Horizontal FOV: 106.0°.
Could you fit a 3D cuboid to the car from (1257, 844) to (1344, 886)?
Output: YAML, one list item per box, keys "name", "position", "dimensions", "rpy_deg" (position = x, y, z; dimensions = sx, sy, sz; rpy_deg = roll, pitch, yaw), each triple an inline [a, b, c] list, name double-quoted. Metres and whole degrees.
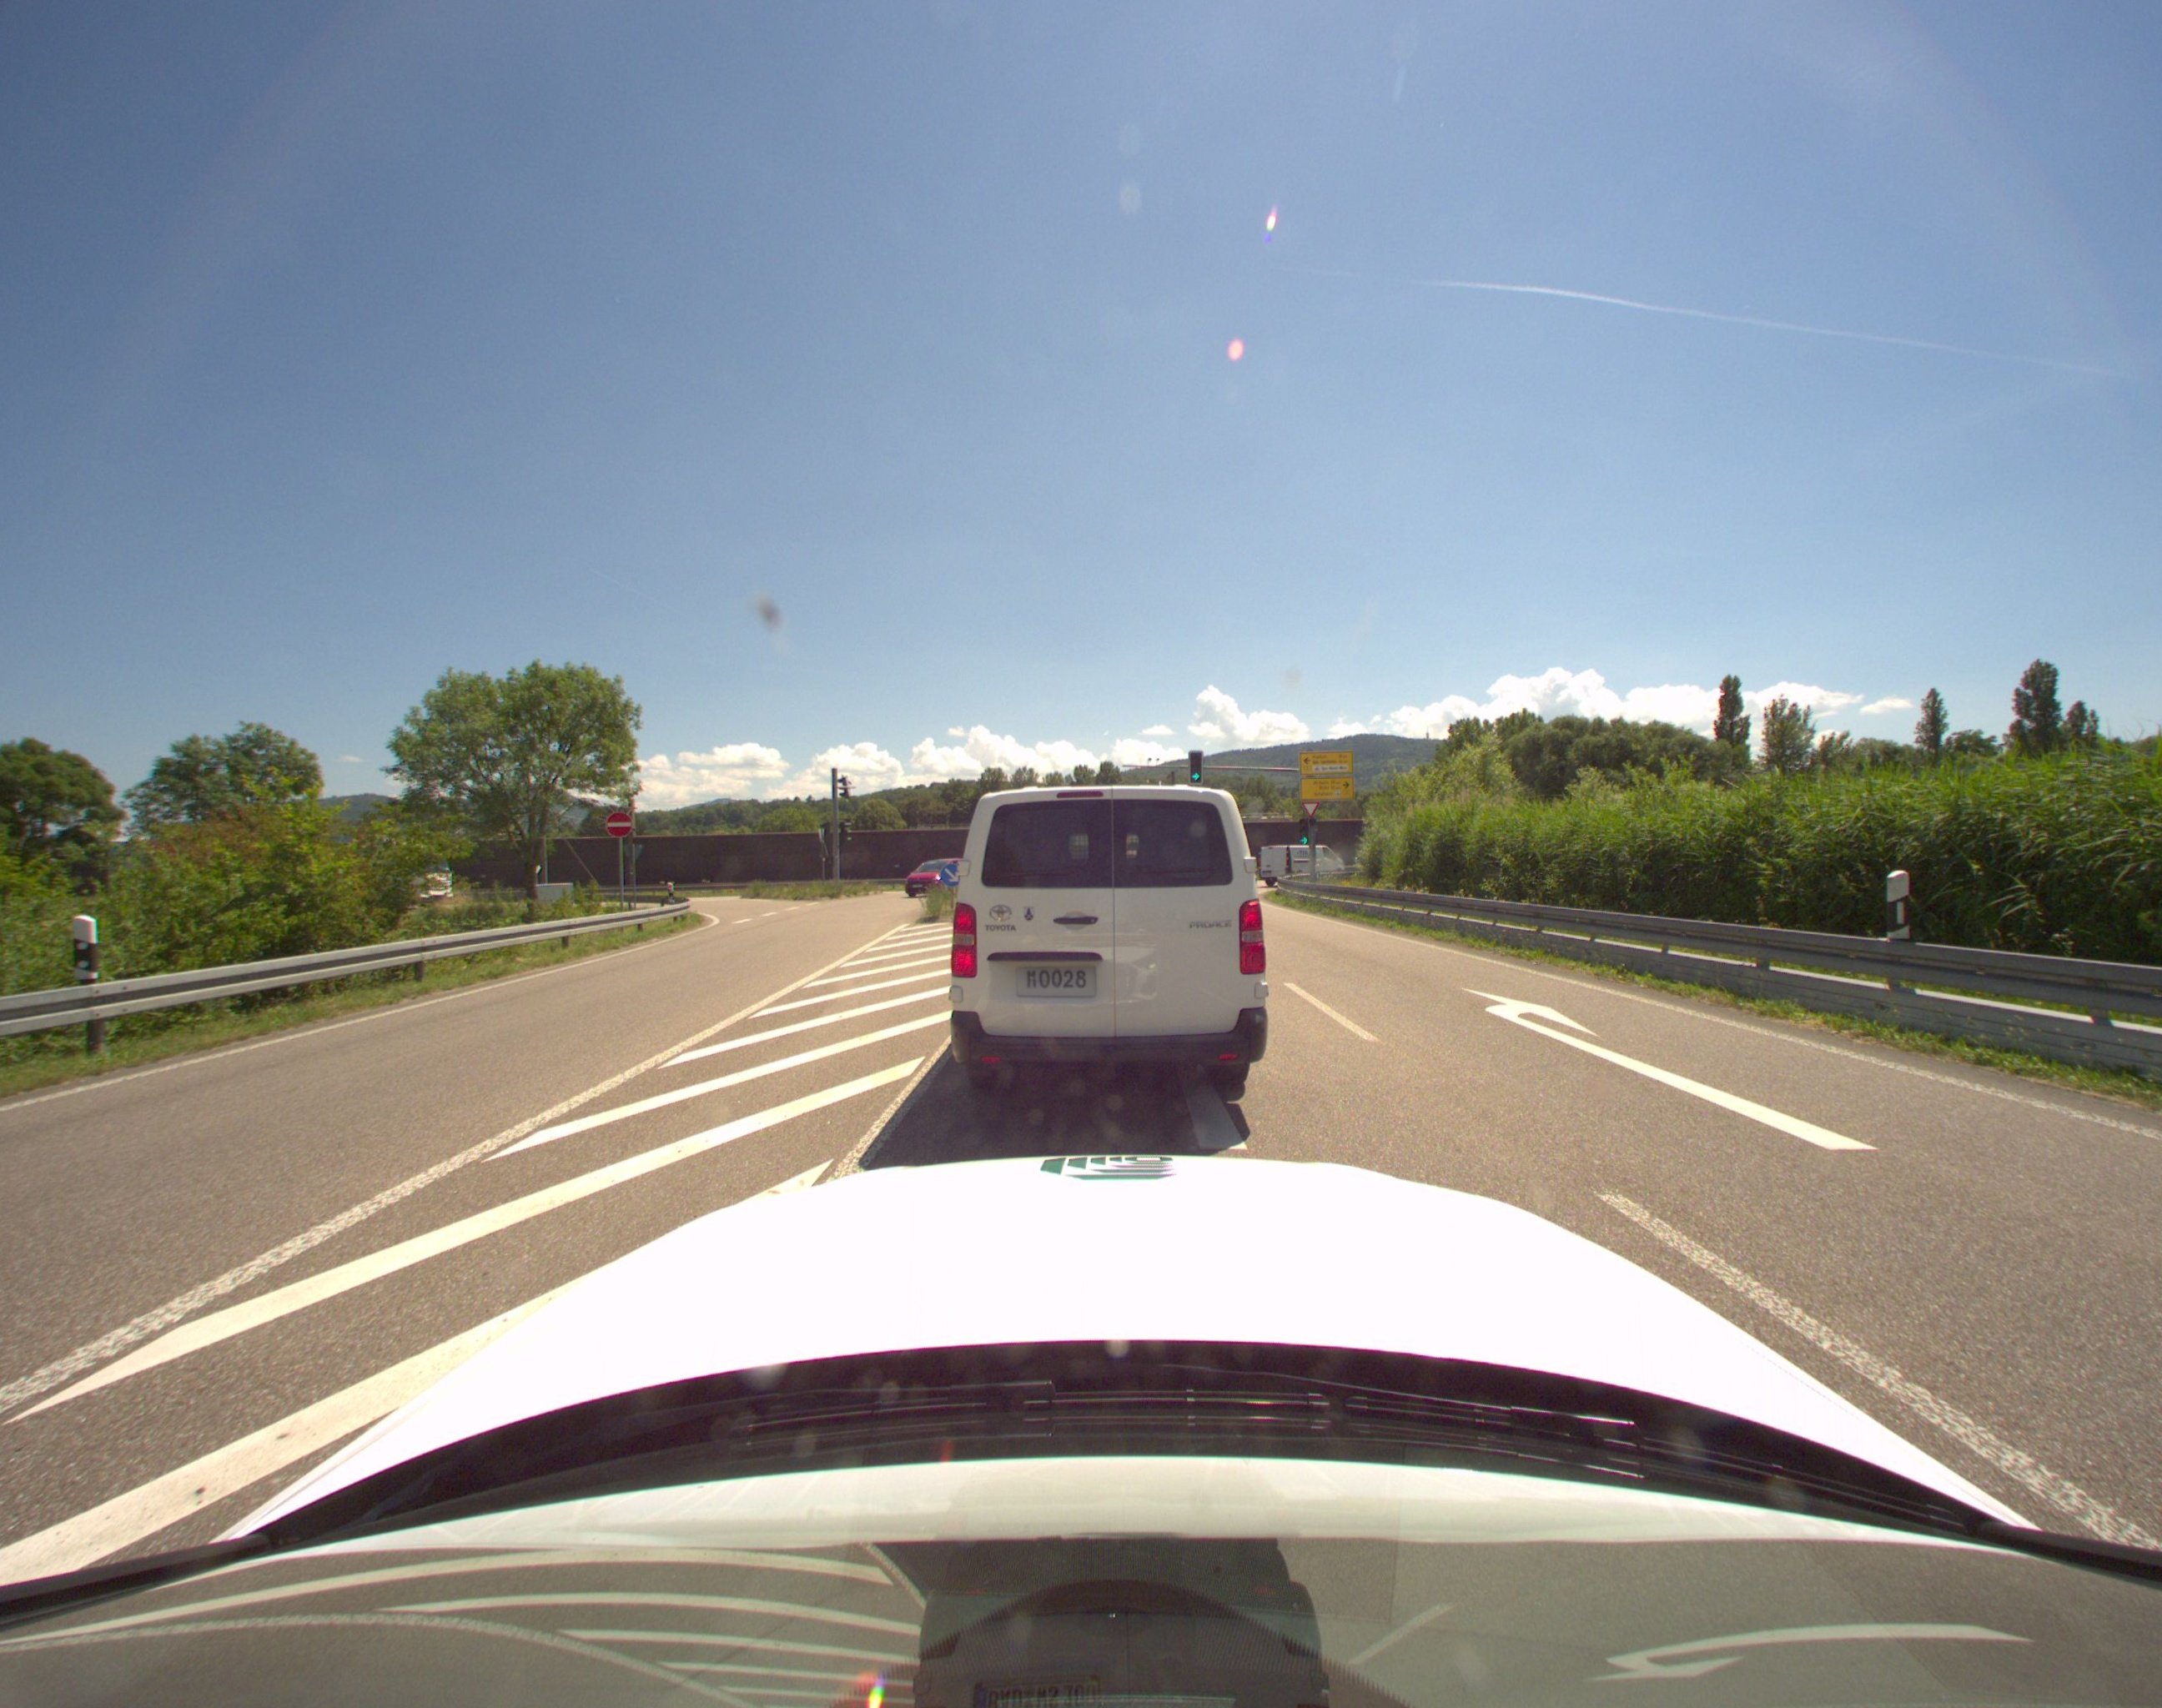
- name: "car"
  position: [11.112, 0.533, 41.026]
  dimensions: [4.864, 2.000, 1.911]
  rpy_deg: [0, -1, -42]

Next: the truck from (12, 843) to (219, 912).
- name: "truck"
  position: [-52.093, 1.239, 44.020]
  dimensions: [9.028, 3.470, 2.128]
  rpy_deg: [-1, -1, 3]

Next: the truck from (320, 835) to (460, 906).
- name: "truck"
  position: [-37.198, 0.881, 44.002]
  dimensions: [5.249, 3.646, 2.519]
  rpy_deg: [-1, -1, -3]

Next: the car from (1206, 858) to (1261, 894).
- name: "car"
  position: [6.359, 0.887, 33.822]
  dimensions: [1.642, 1.431, 3.383]
  rpy_deg: [-1, -1, 21]

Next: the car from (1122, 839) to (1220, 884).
- name: "car"
  position: [5.264, 0.435, 47.940]
  dimensions: [5.345, 2.451, 2.032]
  rpy_deg: [-1, -1, -11]

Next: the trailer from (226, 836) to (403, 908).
- name: "trailer"
  position: [-41.068, 0.933, 43.806]
  dimensions: [6.879, 3.646, 2.519]
  rpy_deg: [-1, -1, -3]

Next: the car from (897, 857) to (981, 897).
- name: "car"
  position: [-6.266, 0.992, 36.556]
  dimensions: [1.978, 1.656, 4.342]
  rpy_deg: [-1, -1, 16]

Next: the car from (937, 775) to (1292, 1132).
- name: "car"
  position: [0.219, 0.549, 6.358]
  dimensions: [1.880, 1.886, 4.001]
  rpy_deg: [-1, -1, 1]
